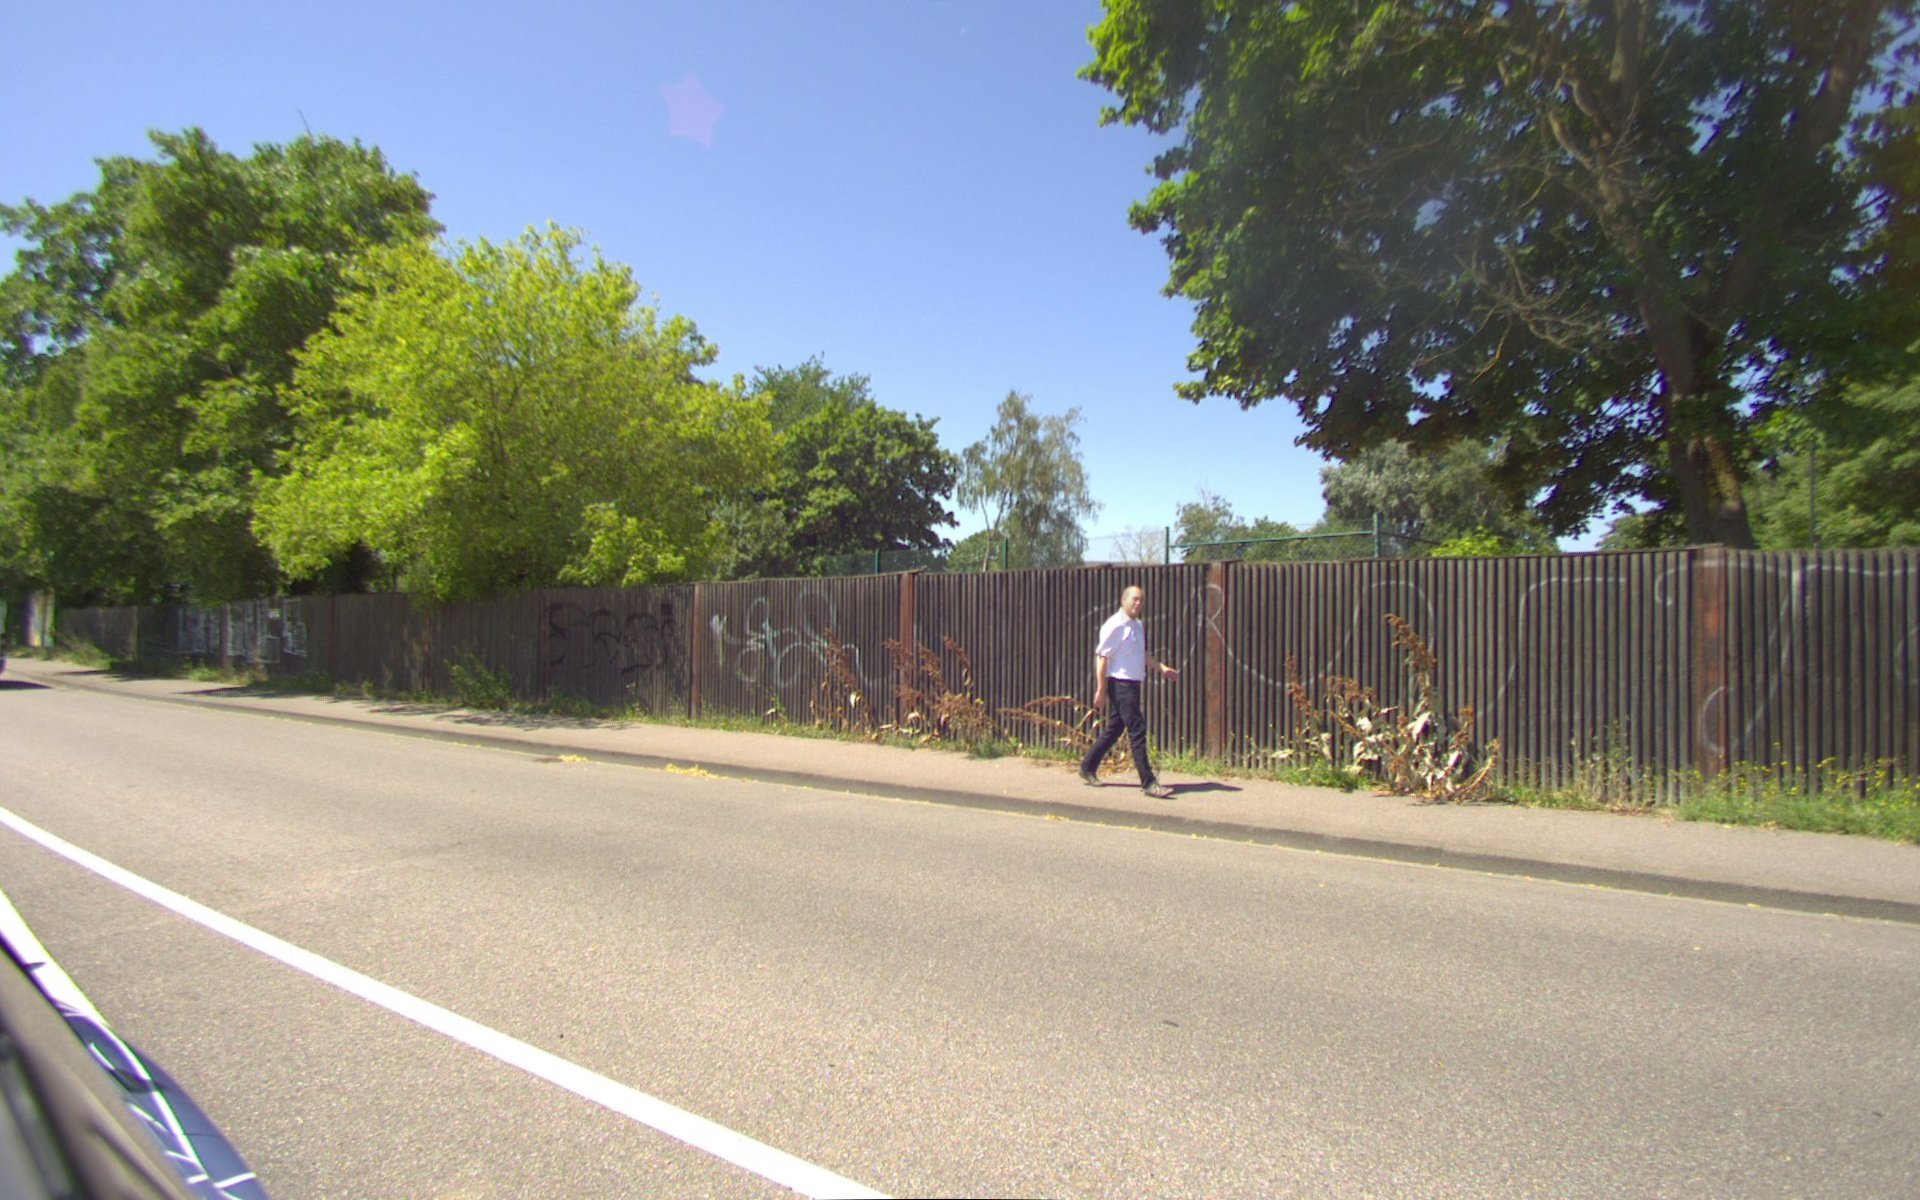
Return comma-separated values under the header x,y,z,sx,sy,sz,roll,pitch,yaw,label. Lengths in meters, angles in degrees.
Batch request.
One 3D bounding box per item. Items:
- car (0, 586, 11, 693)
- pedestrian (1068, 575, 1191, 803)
x,y,z,sx,sy,sz,roll,pitch,yaw,label
-26.205,0.967,25.695,6.818,2.558,2.000,-1,-3,38,car
1.453,0.727,8.701,0.850,1.838,0.586,-1,-1,41,pedestrian
